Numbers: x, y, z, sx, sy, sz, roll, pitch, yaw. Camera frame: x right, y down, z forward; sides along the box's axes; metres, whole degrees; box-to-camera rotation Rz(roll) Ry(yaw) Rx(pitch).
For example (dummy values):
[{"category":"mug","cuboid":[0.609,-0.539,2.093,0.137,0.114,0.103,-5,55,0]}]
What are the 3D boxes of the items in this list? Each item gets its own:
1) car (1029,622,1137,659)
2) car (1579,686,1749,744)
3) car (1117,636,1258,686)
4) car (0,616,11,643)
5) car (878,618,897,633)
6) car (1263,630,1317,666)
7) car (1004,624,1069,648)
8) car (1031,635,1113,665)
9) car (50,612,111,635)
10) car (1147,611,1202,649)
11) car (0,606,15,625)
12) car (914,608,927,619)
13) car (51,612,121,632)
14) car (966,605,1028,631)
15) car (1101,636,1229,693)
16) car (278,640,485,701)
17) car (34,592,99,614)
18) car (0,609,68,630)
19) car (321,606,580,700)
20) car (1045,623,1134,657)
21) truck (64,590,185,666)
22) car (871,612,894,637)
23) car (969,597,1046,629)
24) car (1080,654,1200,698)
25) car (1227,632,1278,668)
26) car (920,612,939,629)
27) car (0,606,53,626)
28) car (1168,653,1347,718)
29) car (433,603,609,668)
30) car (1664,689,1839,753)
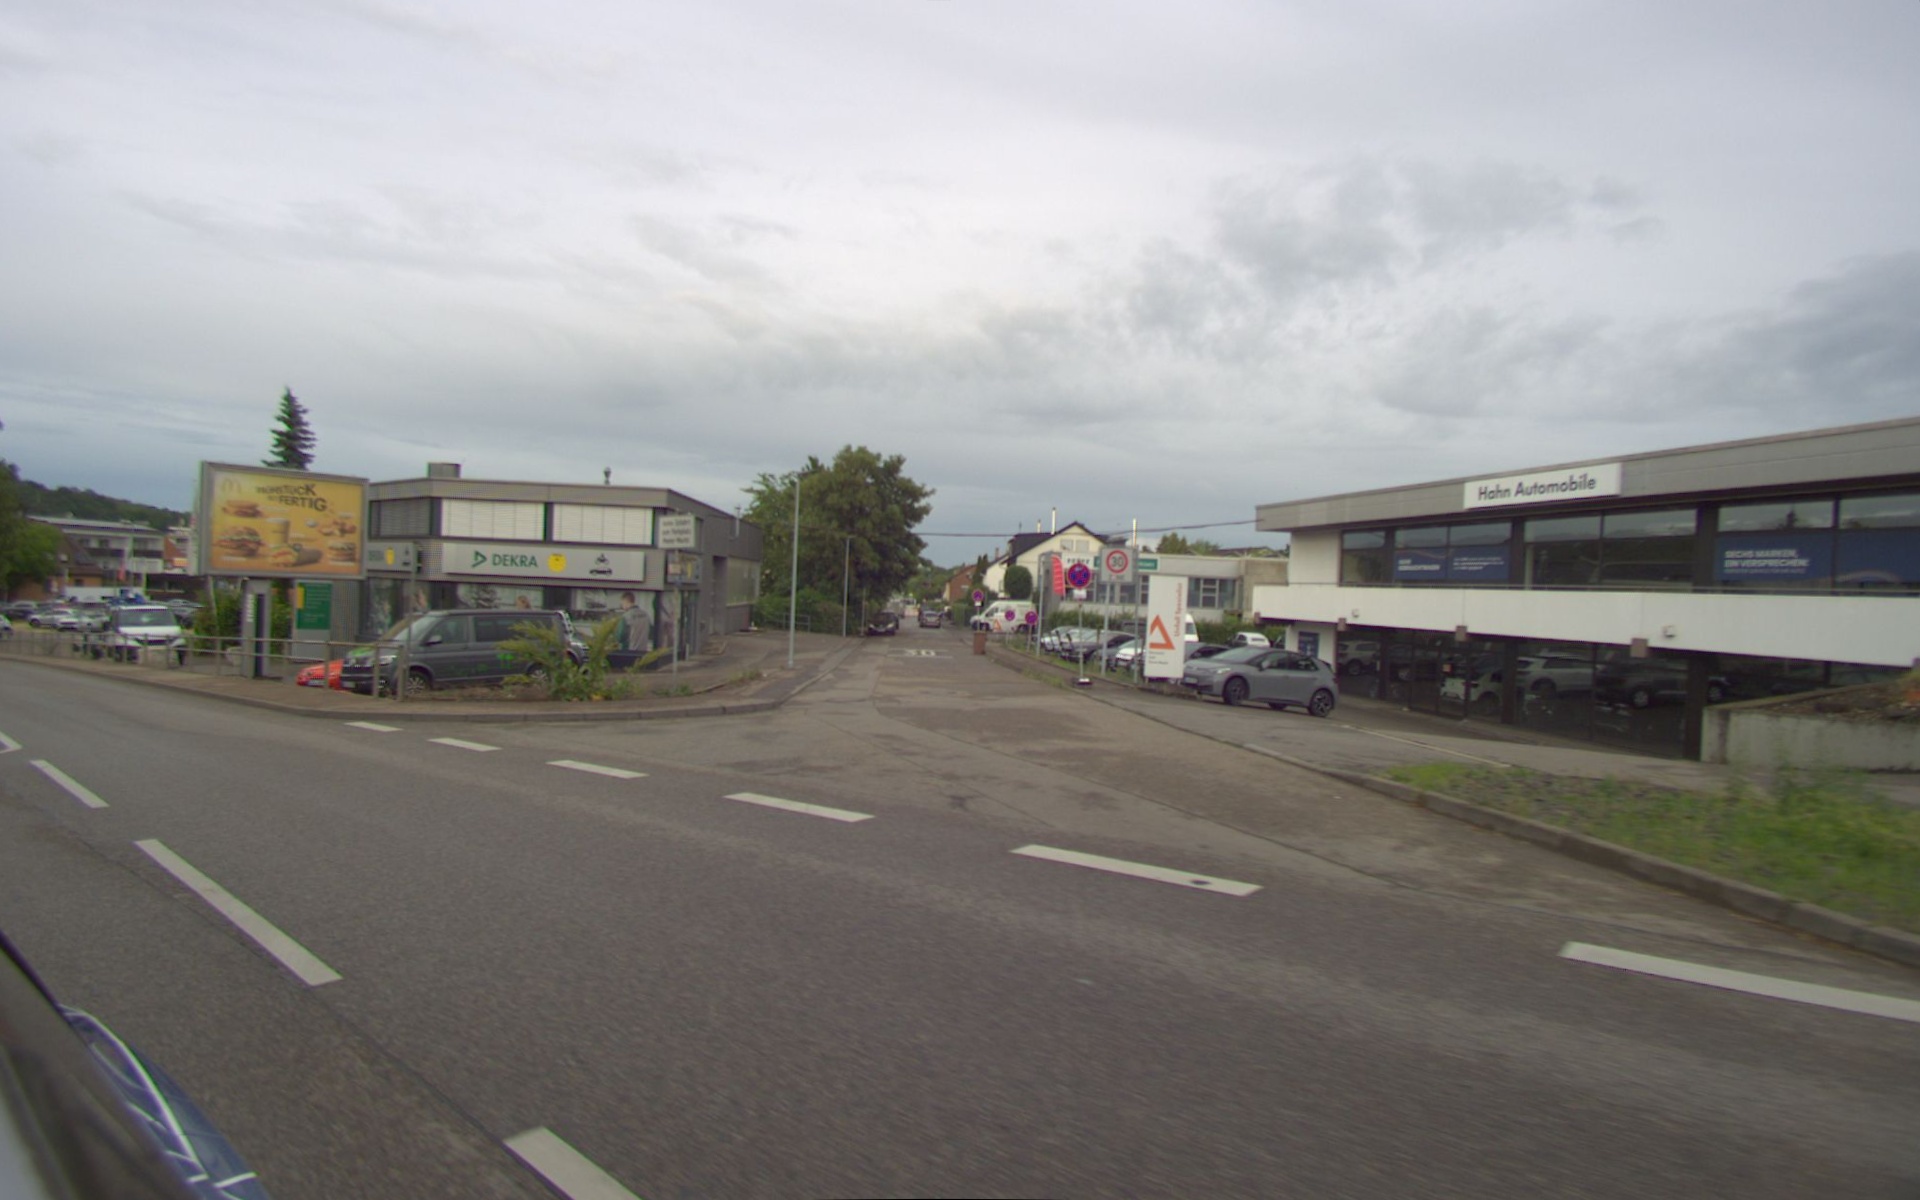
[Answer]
[{"category":"car","cuboid":[4.972,1.603,40.904,3.921,1.439,1.850,1,-1,-23]},{"category":"car","cuboid":[20.429,3.306,29.420,4.036,1.439,1.895,1,-1,-15]},{"category":"car","cuboid":[7.009,1.837,31.163,3.921,1.439,1.785,1,-1,-23]},{"category":"car","cuboid":[-57.448,1.746,58.333,1.698,1.582,4.005,0,1,2]},{"category":"car","cuboid":[-5.867,2.090,81.836,1.360,1.197,3.067,0,-1,-6]},{"category":"car","cuboid":[20.178,2.917,61.976,1.882,2.029,4.000,3,-2,0]},{"category":"car","cuboid":[3.900,1.853,51.853,3.010,1.197,1.386,1,-2,-23]},{"category":"car","cuboid":[5.193,2.298,47.004,3.441,1.299,1.595,1,-1,-23]},{"category":"car","cuboid":[-63.415,1.664,73.023,1.760,1.521,4.056,2,-1,-16]},{"category":"car","cuboid":[12.848,1.739,61.130,1.972,2.029,5.879,0,1,-1]},{"category":"car","cuboid":[-79.268,1.222,82.002,3.715,1.562,1.596,2,-1,-8]},{"category":"car","cuboid":[-4.560,1.552,116.560,1.360,1.197,3.067,0,-1,-6]},{"category":"car","cuboid":[-68.946,1.751,79.899,3.988,1.463,1.790,1,-1,1]},{"category":"car","cuboid":[3.113,1.498,85.203,5.026,2.105,2.148,0,1,-3]},{"category":"car","cuboid":[6.979,2.149,34.460,3.921,1.802,1.826,1,-2,-23]},{"category":"car","cuboid":[-13.993,1.655,24.731,1.762,1.277,4.065,0,-2,29]},{"category":"car","cuboid":[-93.194,0.311,105.691,2.025,2.102,5.253,1,-2,1]},{"category":"car","cuboid":[-70.822,1.460,77.163,3.988,1.463,1.790,1,-1,1]},{"category":"car","cuboid":[-11.385,1.135,23.035,1.817,1.885,5.026,0,-2,33]},{"category":"car","cuboid":[5.688,1.757,44.502,3.530,1.439,1.588,1,-2,-23]},{"category":"truck","cuboid":[-32.112,1.022,38.790,7.883,2.653,1.974,0,-2,39]},{"category":"car","cuboid":[-5.100,1.608,66.192,1.384,1.559,3.219,0,-1,-6]},{"category":"car","cuboid":[3.672,1.017,79.393,5.791,2.387,2.148,0,1,-3]},{"category":"car","cuboid":[6.528,2.730,36.777,3.921,1.439,1.850,1,-1,-23]},{"category":"car","cuboid":[17.825,3.002,61.818,1.792,2.029,4.000,3,-2,0]},{"category":"car","cuboid":[-2.744,1.850,90.556,1.488,1.470,3.441,0,-1,-6]},{"category":"car","cuboid":[-79.030,1.332,85.188,3.715,1.562,1.596,2,-1,-8]},{"category":"car","cuboid":[7.461,2.095,25.403,4.034,1.439,1.896,1,-1,-23]},{"category":"car","cuboid":[-13.978,1.107,32.427,4.809,2.002,2.000,0,0,0]},{"category":"car","cuboid":[21.233,3.194,27.155,4.034,1.439,1.896,1,-1,-22]}]
